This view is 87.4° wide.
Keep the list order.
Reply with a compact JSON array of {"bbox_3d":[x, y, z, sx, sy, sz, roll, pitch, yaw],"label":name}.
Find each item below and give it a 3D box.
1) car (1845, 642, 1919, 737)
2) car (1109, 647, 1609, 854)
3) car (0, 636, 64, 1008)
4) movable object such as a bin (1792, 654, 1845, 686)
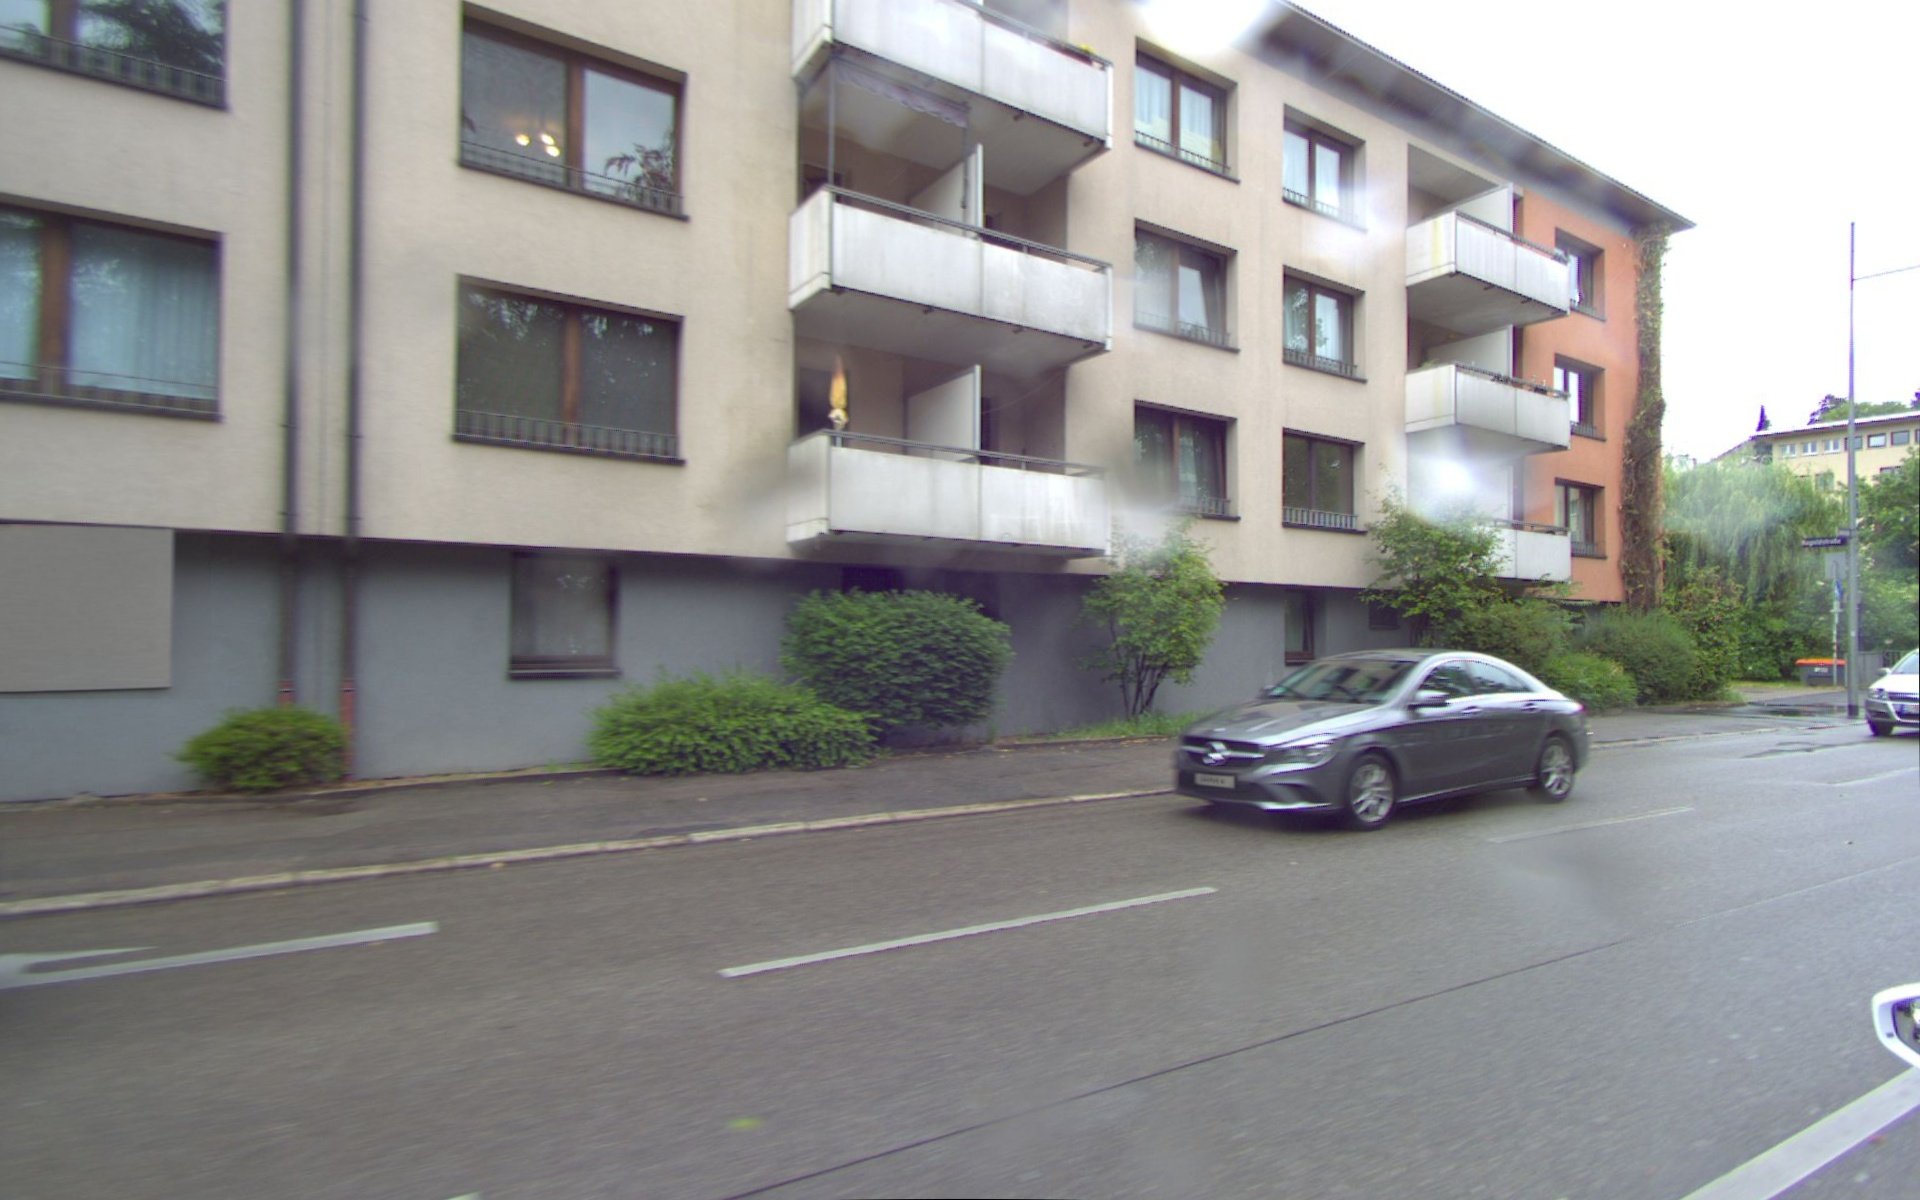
[{"bbox_3d":[16.409,1.408,16.453,4.004,1.434,1.803,1,-3,-32],"label":"car"},{"bbox_3d":[3.757,1.184,9.232,4.627,1.434,1.805,1,-3,-30],"label":"car"},{"bbox_3d":[-5.541,0.872,3.093,3.845,1.511,1.679,1,-3,-31],"label":"car"},{"bbox_3d":[25.233,2.053,29.525,0.823,0.888,0.961,2,-3,-30],"label":"movable object such as a bin"}]
